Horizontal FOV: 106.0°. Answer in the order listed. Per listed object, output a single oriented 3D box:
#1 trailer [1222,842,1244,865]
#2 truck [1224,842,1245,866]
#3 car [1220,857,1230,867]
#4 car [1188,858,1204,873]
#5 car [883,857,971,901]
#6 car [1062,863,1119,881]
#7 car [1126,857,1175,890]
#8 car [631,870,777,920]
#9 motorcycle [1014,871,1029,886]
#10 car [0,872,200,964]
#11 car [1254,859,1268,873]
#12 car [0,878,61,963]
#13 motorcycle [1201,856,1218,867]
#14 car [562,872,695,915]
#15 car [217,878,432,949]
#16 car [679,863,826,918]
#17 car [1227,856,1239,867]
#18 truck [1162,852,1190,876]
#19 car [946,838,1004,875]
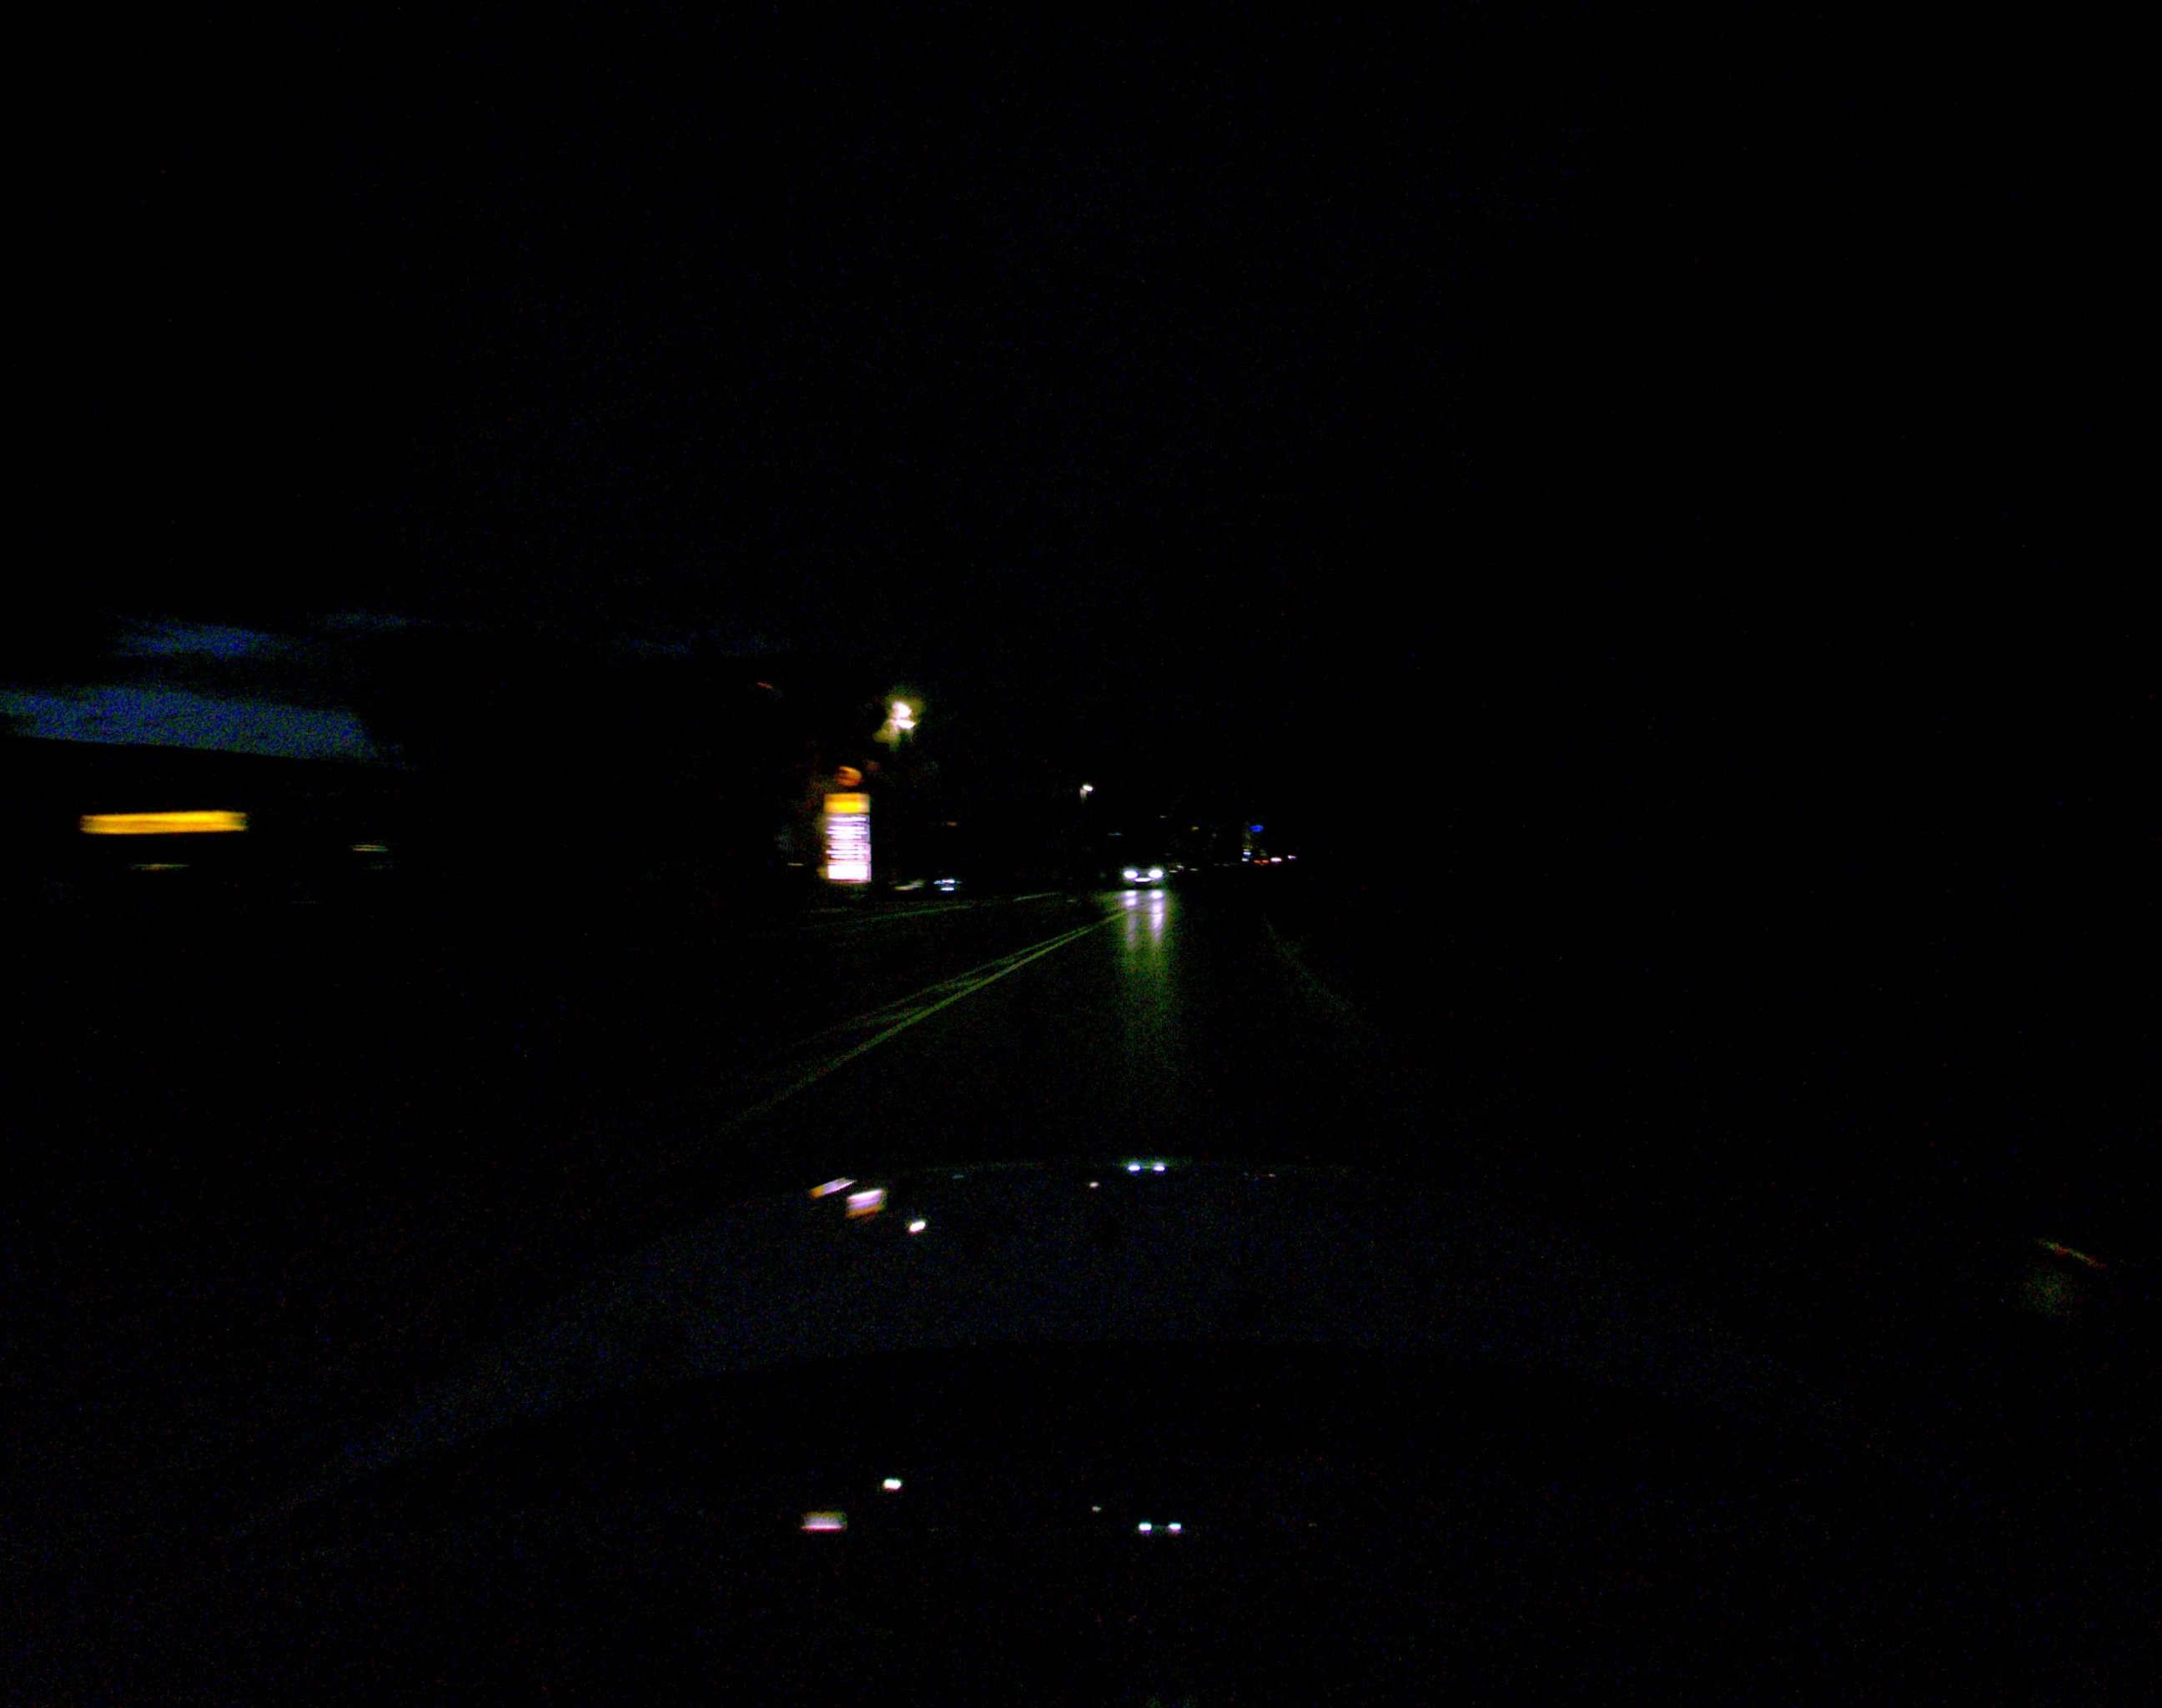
[{"bbox_3d":[34.236,-0.229,183.765,3.821,4.890,10.828,1,1,6],"label":"trailer"},{"bbox_3d":[33.689,-0.078,178.723,3.821,4.890,6.365,1,1,6],"label":"truck"},{"bbox_3d":[25.012,1.355,141.464,1.715,1.739,3.817,-2,-1,8],"label":"car"},{"bbox_3d":[12.677,1.235,89.827,1.707,1.618,3.848,-2,0,8],"label":"car"},{"bbox_3d":[-6.039,0.941,32.524,1.743,1.607,4.468,0,-1,13],"label":"car"},{"bbox_3d":[0.764,1.429,65.022,4.321,1.360,1.647,-1,-1,10],"label":"car"},{"bbox_3d":[3.825,1.013,44.297,1.742,1.607,4.471,-2,0,16],"label":"car"},{"bbox_3d":[-11.171,1.158,24.355,1.530,1.311,3.722,0,0,31],"label":"car"},{"bbox_3d":[-4.842,1.961,66.036,0.981,1.144,1.850,0,-1,3],"label":"motorcycle"},{"bbox_3d":[-32.802,2.015,26.927,5.942,2.611,2.216,1,1,12],"label":"car"},{"bbox_3d":[29.609,1.953,133.889,1.980,2.013,4.013,-4,0,12],"label":"car"},{"bbox_3d":[-20.697,1.278,14.314,3.738,1.438,1.905,-3,1,12],"label":"car"},{"bbox_3d":[24.451,1.441,154.639,1.306,2.013,4.025,2,2,41],"label":"motorcycle"},{"bbox_3d":[-13.739,1.165,24.886,1.530,1.131,3.233,0,0,30],"label":"car"},{"bbox_3d":[-16.567,1.284,17.915,3.485,1.359,1.499,-3,-2,5],"label":"car"},{"bbox_3d":[-9.309,0.981,23.353,1.530,1.420,3.722,0,0,31],"label":"car"},{"bbox_3d":[28.617,1.366,153.533,1.983,1.897,4.009,-2,0,7],"label":"car"},{"bbox_3d":[8.869,0.915,75.756,2.235,2.129,5.996,-2,-1,10],"label":"truck"},{"bbox_3d":[-6.136,0.075,47.531,1.979,2.013,4.016,1,2,14],"label":"car"}]
